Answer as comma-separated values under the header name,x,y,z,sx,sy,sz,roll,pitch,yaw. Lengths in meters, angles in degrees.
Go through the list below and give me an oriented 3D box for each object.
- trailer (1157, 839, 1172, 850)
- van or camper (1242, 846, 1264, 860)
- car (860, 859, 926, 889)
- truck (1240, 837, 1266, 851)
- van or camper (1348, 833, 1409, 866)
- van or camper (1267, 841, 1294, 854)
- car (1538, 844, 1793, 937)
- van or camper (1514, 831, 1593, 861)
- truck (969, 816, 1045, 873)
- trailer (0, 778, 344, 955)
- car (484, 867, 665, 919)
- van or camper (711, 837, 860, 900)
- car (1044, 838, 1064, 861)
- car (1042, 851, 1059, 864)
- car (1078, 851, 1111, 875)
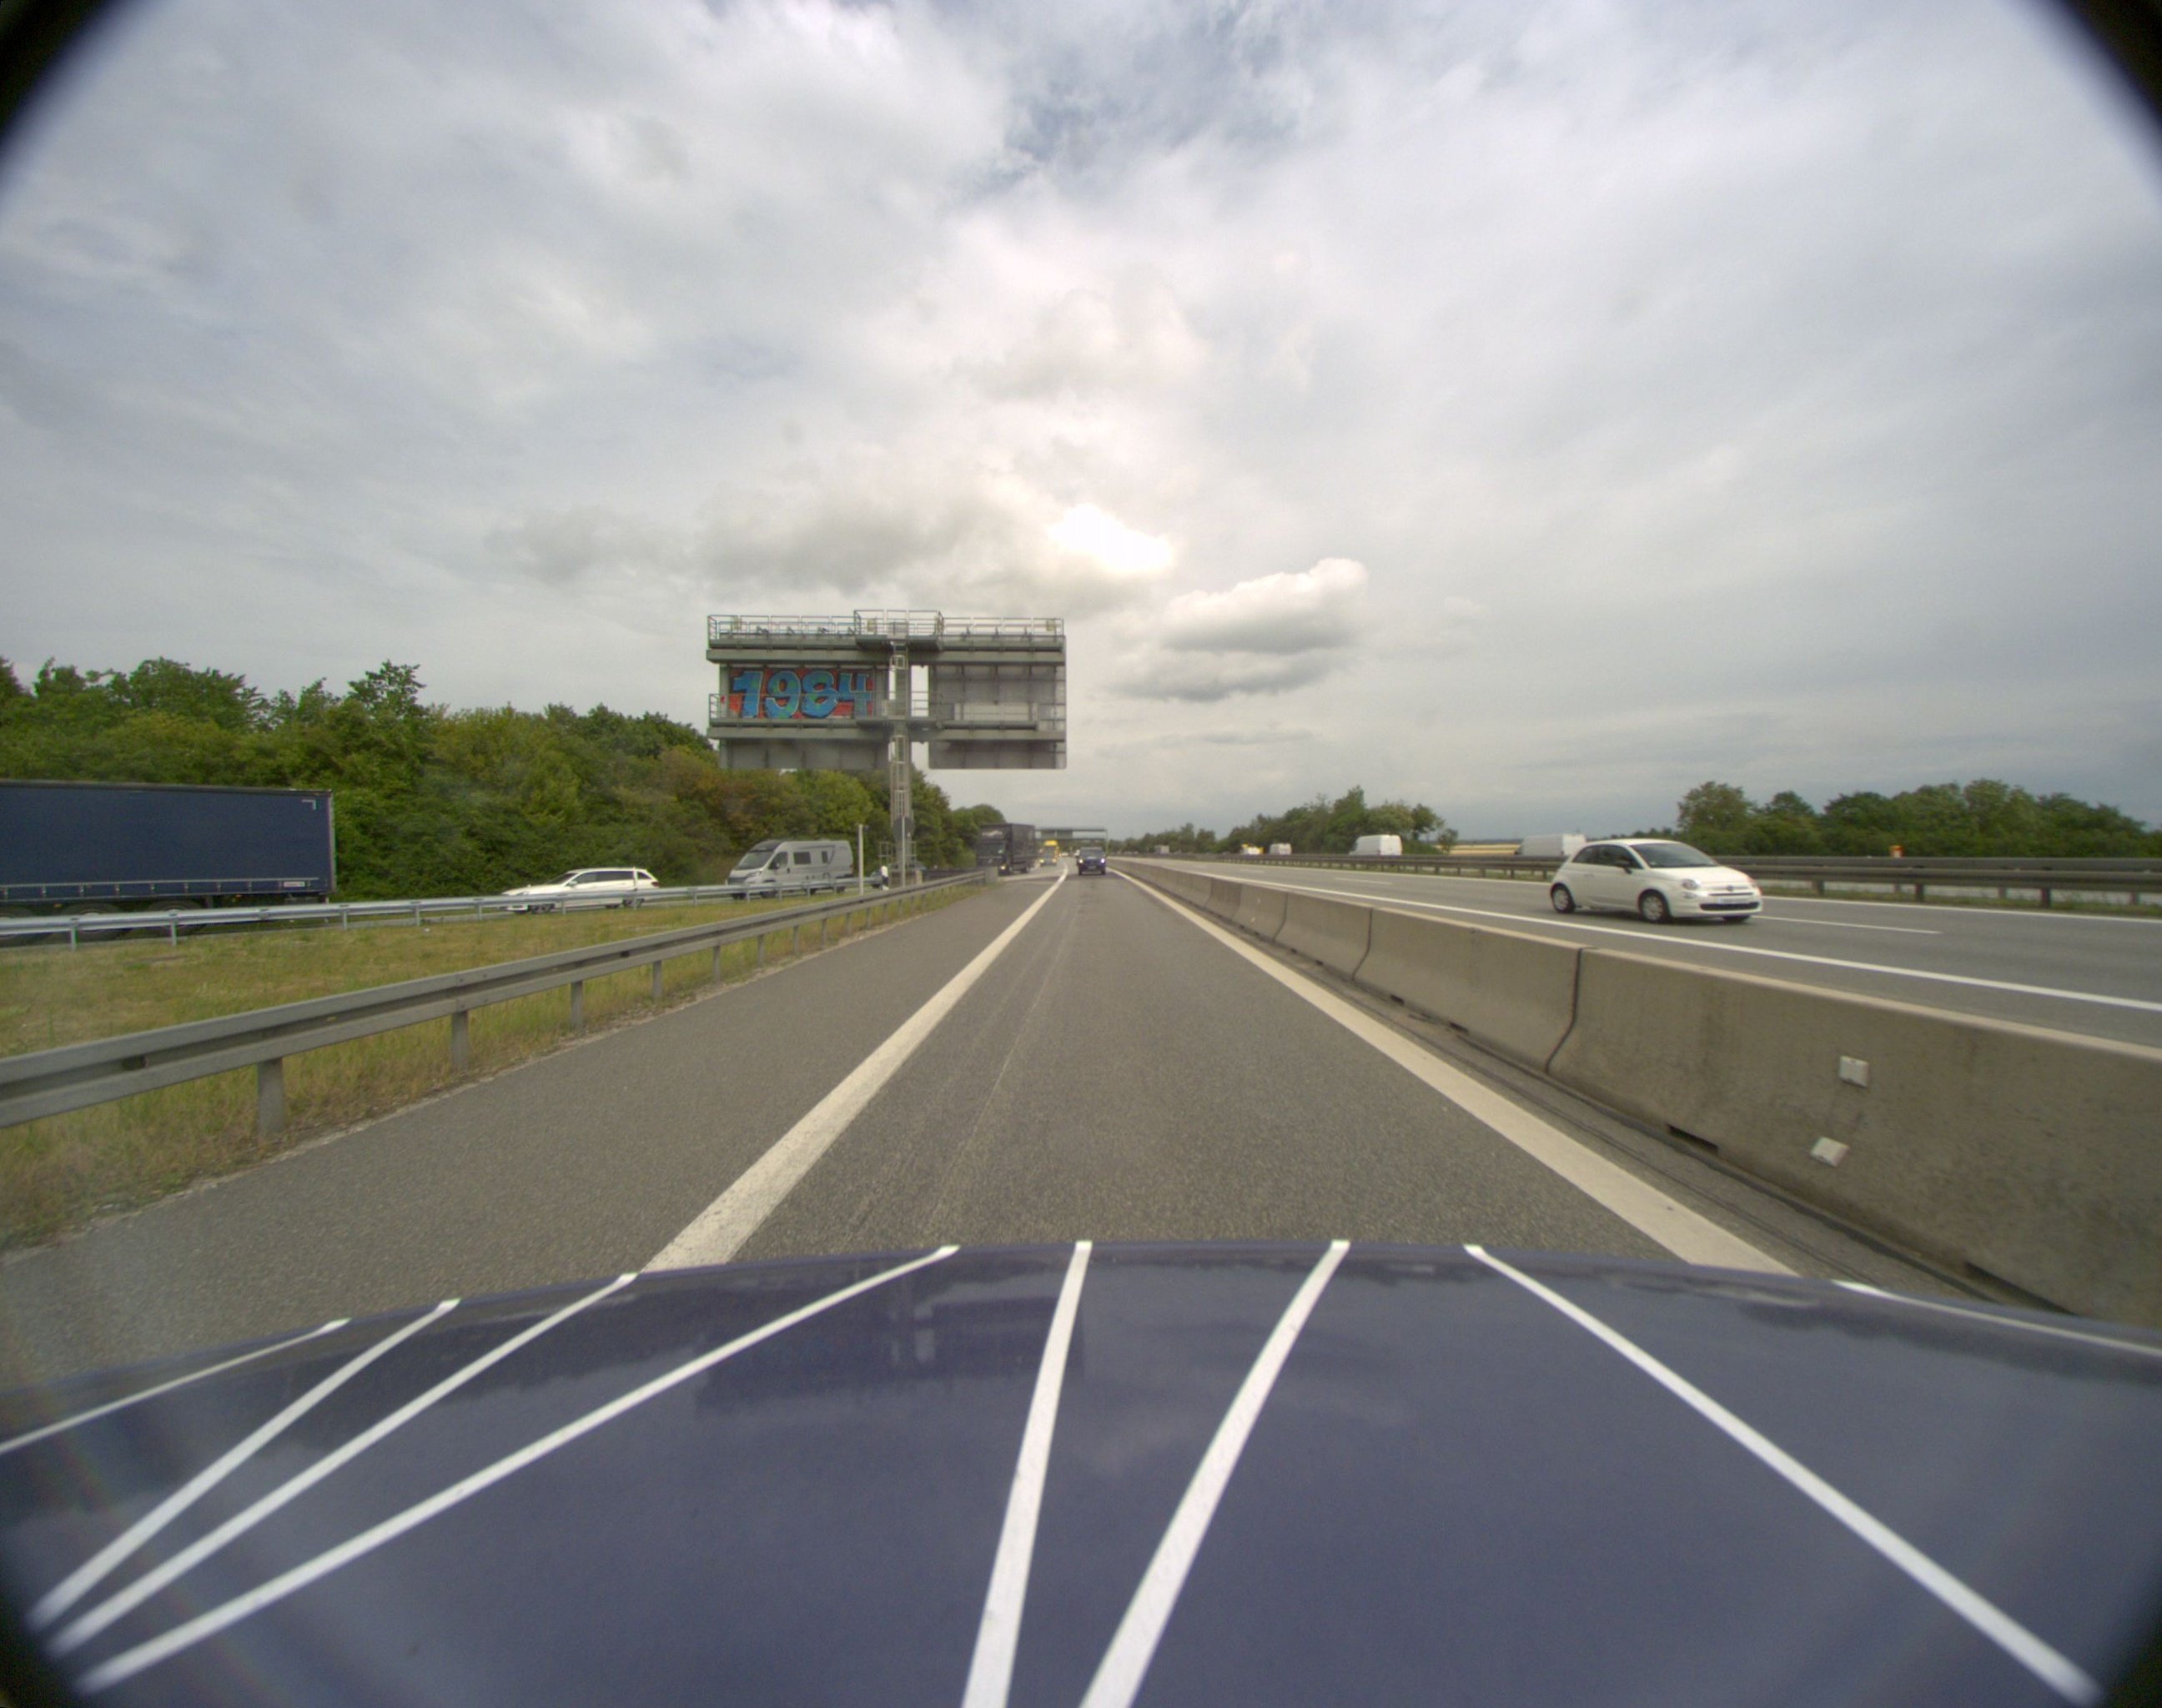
name,x,y,z,sx,sy,sz,roll,pitch,yaw
trailer,26.315,-2.890,241.194,3.206,3.250,9.821,-2,1,-3
van or camper,23.752,-0.124,104.991,1.999,1.818,4.346,-2,1,-1
car,-10.248,1.052,41.627,1.731,1.411,3.670,-2,1,20
truck,34.379,-1.984,152.266,2.914,2.758,8.779,-1,0,-1
van or camper,25.265,-0.408,64.928,2.193,2.604,6.902,-1,0,-3
van or camper,31.395,-1.033,119.927,2.241,2.002,6.275,-1,0,-4
car,10.562,0.568,14.135,1.685,1.476,3.772,-1,1,-4
van or camper,36.179,-0.600,58.396,2.193,2.159,5.807,-1,0,-3
truck,-5.469,-0.695,58.725,3.022,3.931,10.347,-2,1,10
trailer,-27.243,0.347,18.508,3.332,4.169,13.058,-1,1,43
car,-17.651,1.289,26.719,2.207,1.493,4.796,-1,1,36
van or camper,-13.051,0.556,34.139,2.295,2.553,6.171,-1,1,28
car,-5.397,-0.957,153.712,3.395,4.458,11.605,-2,1,1
car,-3.569,0.365,87.452,1.866,1.434,3.998,-2,1,-3
car,0.845,0.536,49.166,1.866,1.434,3.998,-2,1,-3
